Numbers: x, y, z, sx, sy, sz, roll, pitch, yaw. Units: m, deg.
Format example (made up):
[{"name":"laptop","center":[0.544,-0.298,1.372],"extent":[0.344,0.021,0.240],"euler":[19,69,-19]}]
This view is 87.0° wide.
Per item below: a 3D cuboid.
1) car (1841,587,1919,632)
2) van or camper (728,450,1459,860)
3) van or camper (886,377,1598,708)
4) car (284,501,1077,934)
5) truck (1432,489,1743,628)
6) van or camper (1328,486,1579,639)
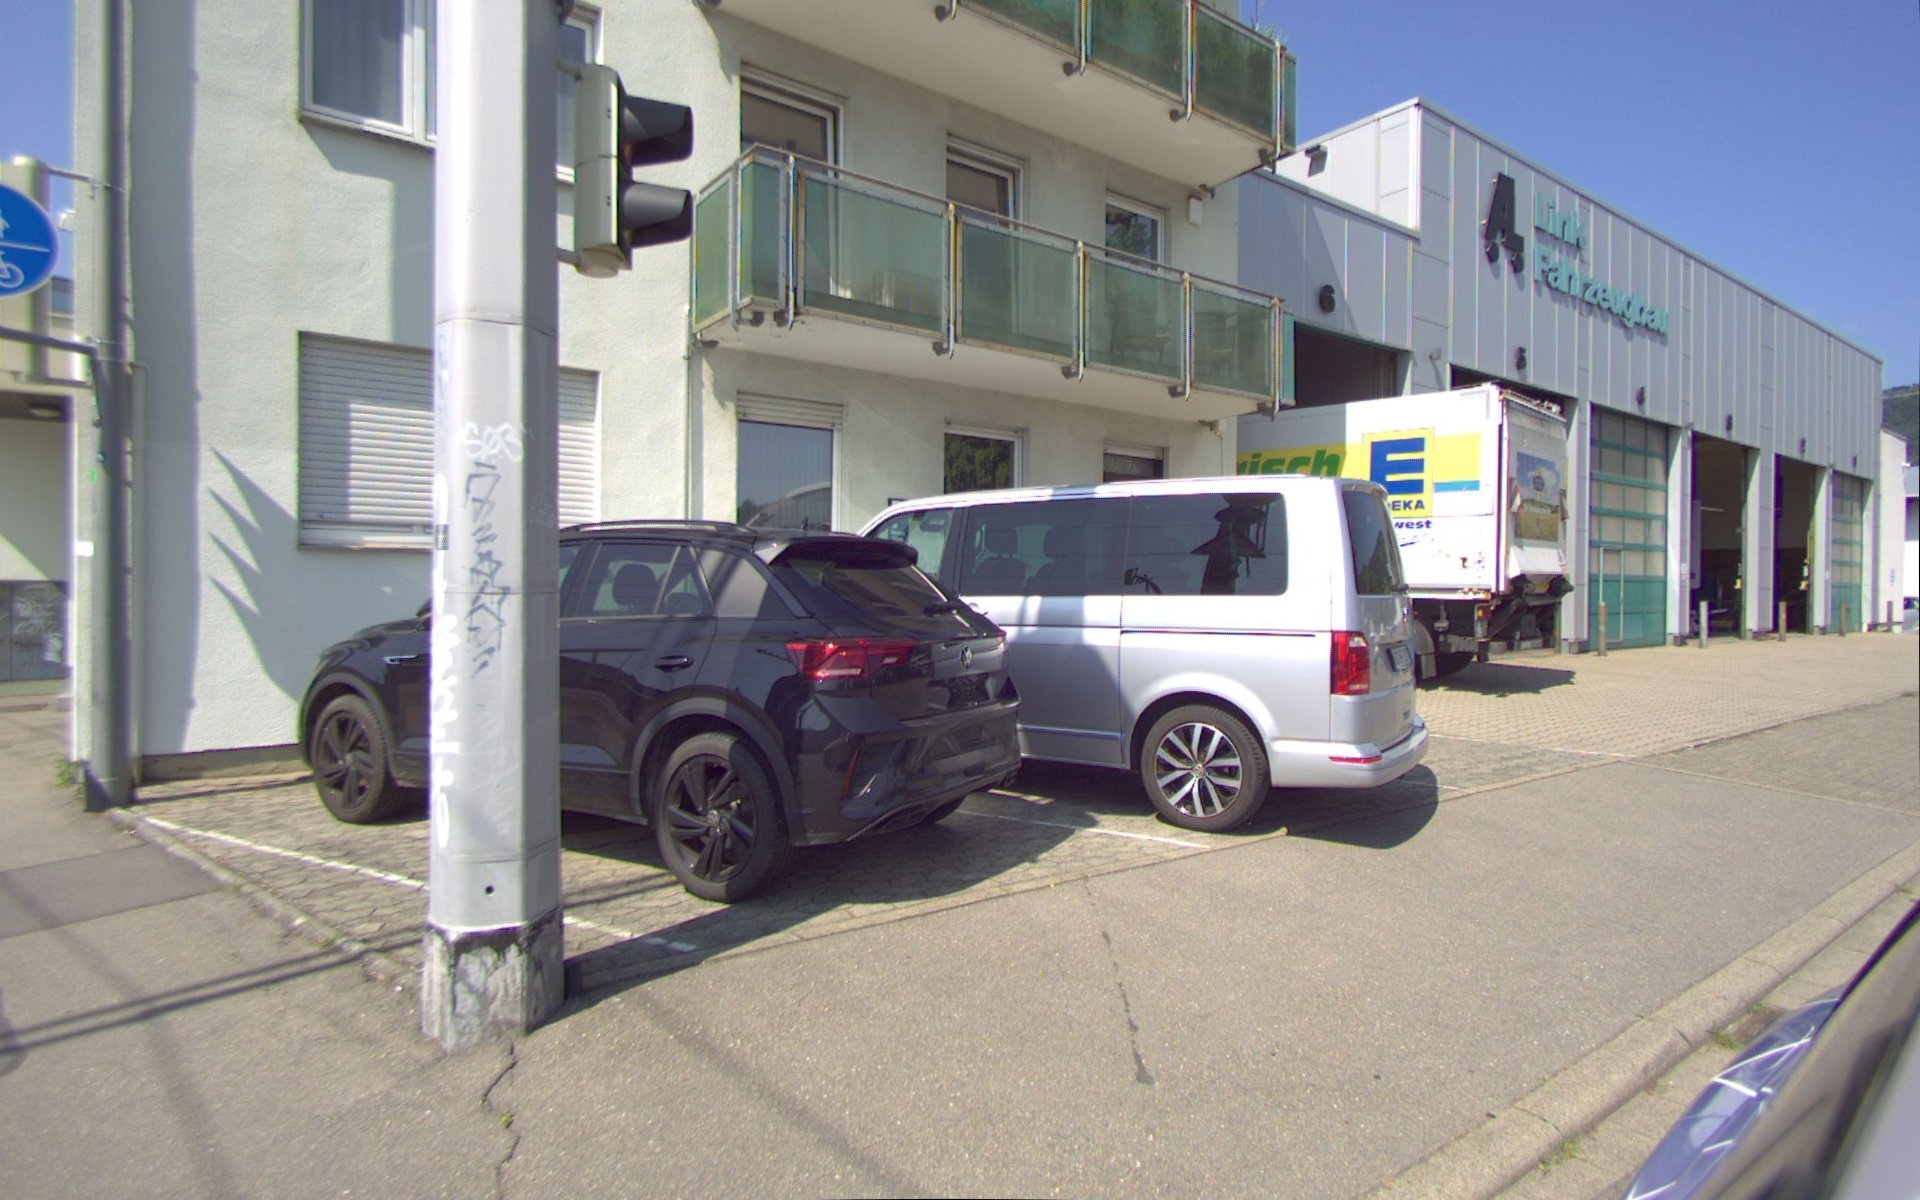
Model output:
[{"name":"car","center":[33.188,0.349,35.783],"extent":[2.775,1.553,1.310],"euler":[1,-1,7]},{"name":"van or camper","center":[0.740,0.190,6.878],"extent":[4.525,1.931,1.976],"euler":[2,1,34]},{"name":"van or camper","center":[3.466,-0.786,16.660],"extent":[2.734,3.739,11.614],"euler":[0,1,-43]},{"name":"car","center":[-1.551,0.375,5.391],"extent":[3.939,1.540,1.861],"euler":[1,1,29]},{"name":"truck","center":[19.270,-1.253,31.704],"extent":[2.575,3.828,7.862],"euler":[0,1,-35]},{"name":"van or camper","center":[11.565,-0.844,24.072],"extent":[1.964,3.246,5.055],"euler":[-1,1,-38]}]
